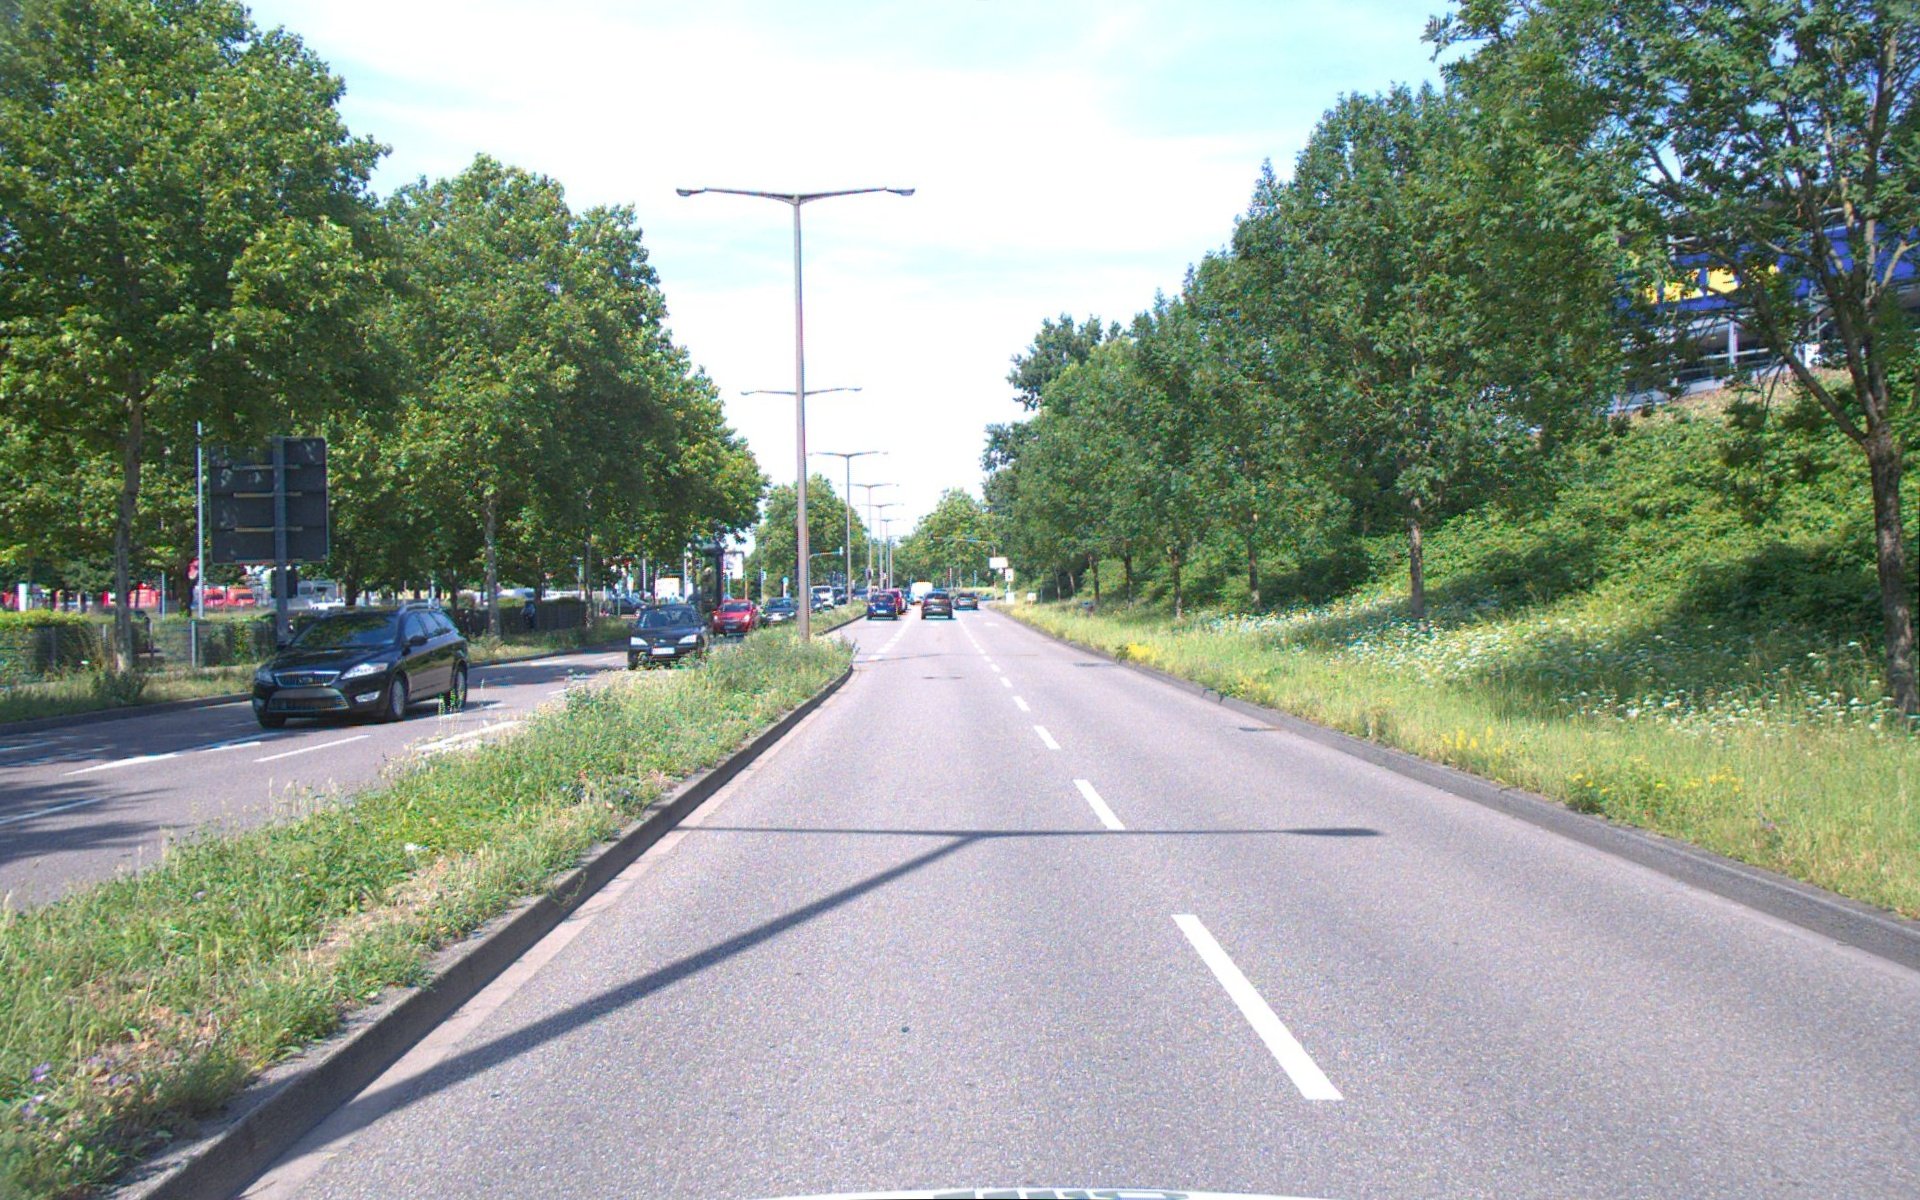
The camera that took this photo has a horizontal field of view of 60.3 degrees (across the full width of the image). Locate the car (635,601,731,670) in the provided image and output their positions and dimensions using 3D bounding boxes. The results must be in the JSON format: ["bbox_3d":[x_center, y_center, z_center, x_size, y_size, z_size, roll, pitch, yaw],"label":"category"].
[{"bbox_3d":[-6.555,0.812,39.560,1.737,1.493,4.668,-2,0,-3],"label":"car"}]

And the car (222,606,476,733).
[{"bbox_3d":[-8.196,0.859,22.713,1.790,1.493,4.985,-1,0,-2],"label":"car"}]

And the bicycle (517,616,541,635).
[{"bbox_3d":[-21.386,1.245,82.040,0.675,0.881,1.926,-1,0,-1],"label":"bicycle"}]

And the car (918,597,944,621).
[{"bbox_3d":[-2.244,0.695,127.460,1.953,1.774,4.264,-1,0,-1],"label":"car"}]

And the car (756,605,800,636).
[{"bbox_3d":[-9.186,1.015,83.777,1.802,1.504,4.165,-1,0,-1],"label":"car"}]

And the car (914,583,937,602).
[{"bbox_3d":[-3.134,-0.676,150.086,1.953,1.738,4.263,-1,0,-1],"label":"car"}]

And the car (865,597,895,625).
[{"bbox_3d":[-4.507,0.621,93.802,1.593,1.509,4.047,1,0,-1],"label":"car"}]

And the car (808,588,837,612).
[{"bbox_3d":[-11.249,-0.004,135.898,2.074,1.916,5.417,-2,0,-2],"label":"car"}]

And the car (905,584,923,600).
[{"bbox_3d":[-4.861,-0.817,174.792,1.895,1.676,3.999,-1,0,-1],"label":"car"}]

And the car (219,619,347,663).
[{"bbox_3d":[-24.750,1.486,60.569,3.905,1.490,1.772,-2,0,0],"label":"car"}]

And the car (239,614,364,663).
[{"bbox_3d":[-25.341,1.482,63.765,3.903,1.855,2.157,0,-1,3],"label":"car"}]

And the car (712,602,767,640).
[{"bbox_3d":[-9.223,0.853,69.345,1.727,1.488,4.000,-2,0,0],"label":"car"}]

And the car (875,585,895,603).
[{"bbox_3d":[-8.044,-0.638,177.296,1.952,1.892,4.000,-1,0,0],"label":"car"}]

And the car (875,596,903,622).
[{"bbox_3d":[-4.689,0.577,109.526,1.746,1.620,4.592,0,0,-1],"label":"car"}]

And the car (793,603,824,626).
[{"bbox_3d":[-10.143,0.974,111.115,1.732,1.494,4.282,-2,0,-2],"label":"car"}]

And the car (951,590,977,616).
[{"bbox_3d":[0.324,0.214,131.105,1.977,1.869,4.000,0,2,-1],"label":"car"}]

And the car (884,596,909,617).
[{"bbox_3d":[-4.975,0.515,130.142,1.843,1.646,4.211,0,0,-2],"label":"car"}]

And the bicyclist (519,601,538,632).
[{"bbox_3d":[-21.403,0.808,82.055,0.667,1.511,0.941,-1,0,-1],"label":"bicyclist"}]

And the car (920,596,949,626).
[{"bbox_3d":[-1.495,0.617,97.257,1.701,1.562,4.000,0,2,-1],"label":"car"}]

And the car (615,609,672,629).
[{"bbox_3d":[-23.472,1.389,122.611,3.908,1.412,1.764,-1,1,26],"label":"car"}]

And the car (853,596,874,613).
[{"bbox_3d":[-10.782,0.513,184.260,1.952,1.806,4.001,-1,0,1],"label":"car"}]

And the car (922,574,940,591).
[{"bbox_3d":[-3.576,-2.128,201.469,1.954,2.049,3.996,-1,0,-5],"label":"car"}]

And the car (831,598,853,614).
[{"bbox_3d":[-12.118,0.636,170.623,1.953,1.557,4.681,-2,0,-1],"label":"car"}]

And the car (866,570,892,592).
[{"bbox_3d":[-6.771,-1.557,138.530,1.953,1.738,4.262,-1,0,-1],"label":"car"}]

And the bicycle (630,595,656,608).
[{"bbox_3d":[-25.306,0.103,132.076,1.933,1.000,0.779,-2,3,-37],"label":"bicycle"}]

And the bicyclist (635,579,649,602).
[{"bbox_3d":[-25.392,-0.756,131.984,0.890,1.745,0.773,-2,3,-37],"label":"bicyclist"}]
